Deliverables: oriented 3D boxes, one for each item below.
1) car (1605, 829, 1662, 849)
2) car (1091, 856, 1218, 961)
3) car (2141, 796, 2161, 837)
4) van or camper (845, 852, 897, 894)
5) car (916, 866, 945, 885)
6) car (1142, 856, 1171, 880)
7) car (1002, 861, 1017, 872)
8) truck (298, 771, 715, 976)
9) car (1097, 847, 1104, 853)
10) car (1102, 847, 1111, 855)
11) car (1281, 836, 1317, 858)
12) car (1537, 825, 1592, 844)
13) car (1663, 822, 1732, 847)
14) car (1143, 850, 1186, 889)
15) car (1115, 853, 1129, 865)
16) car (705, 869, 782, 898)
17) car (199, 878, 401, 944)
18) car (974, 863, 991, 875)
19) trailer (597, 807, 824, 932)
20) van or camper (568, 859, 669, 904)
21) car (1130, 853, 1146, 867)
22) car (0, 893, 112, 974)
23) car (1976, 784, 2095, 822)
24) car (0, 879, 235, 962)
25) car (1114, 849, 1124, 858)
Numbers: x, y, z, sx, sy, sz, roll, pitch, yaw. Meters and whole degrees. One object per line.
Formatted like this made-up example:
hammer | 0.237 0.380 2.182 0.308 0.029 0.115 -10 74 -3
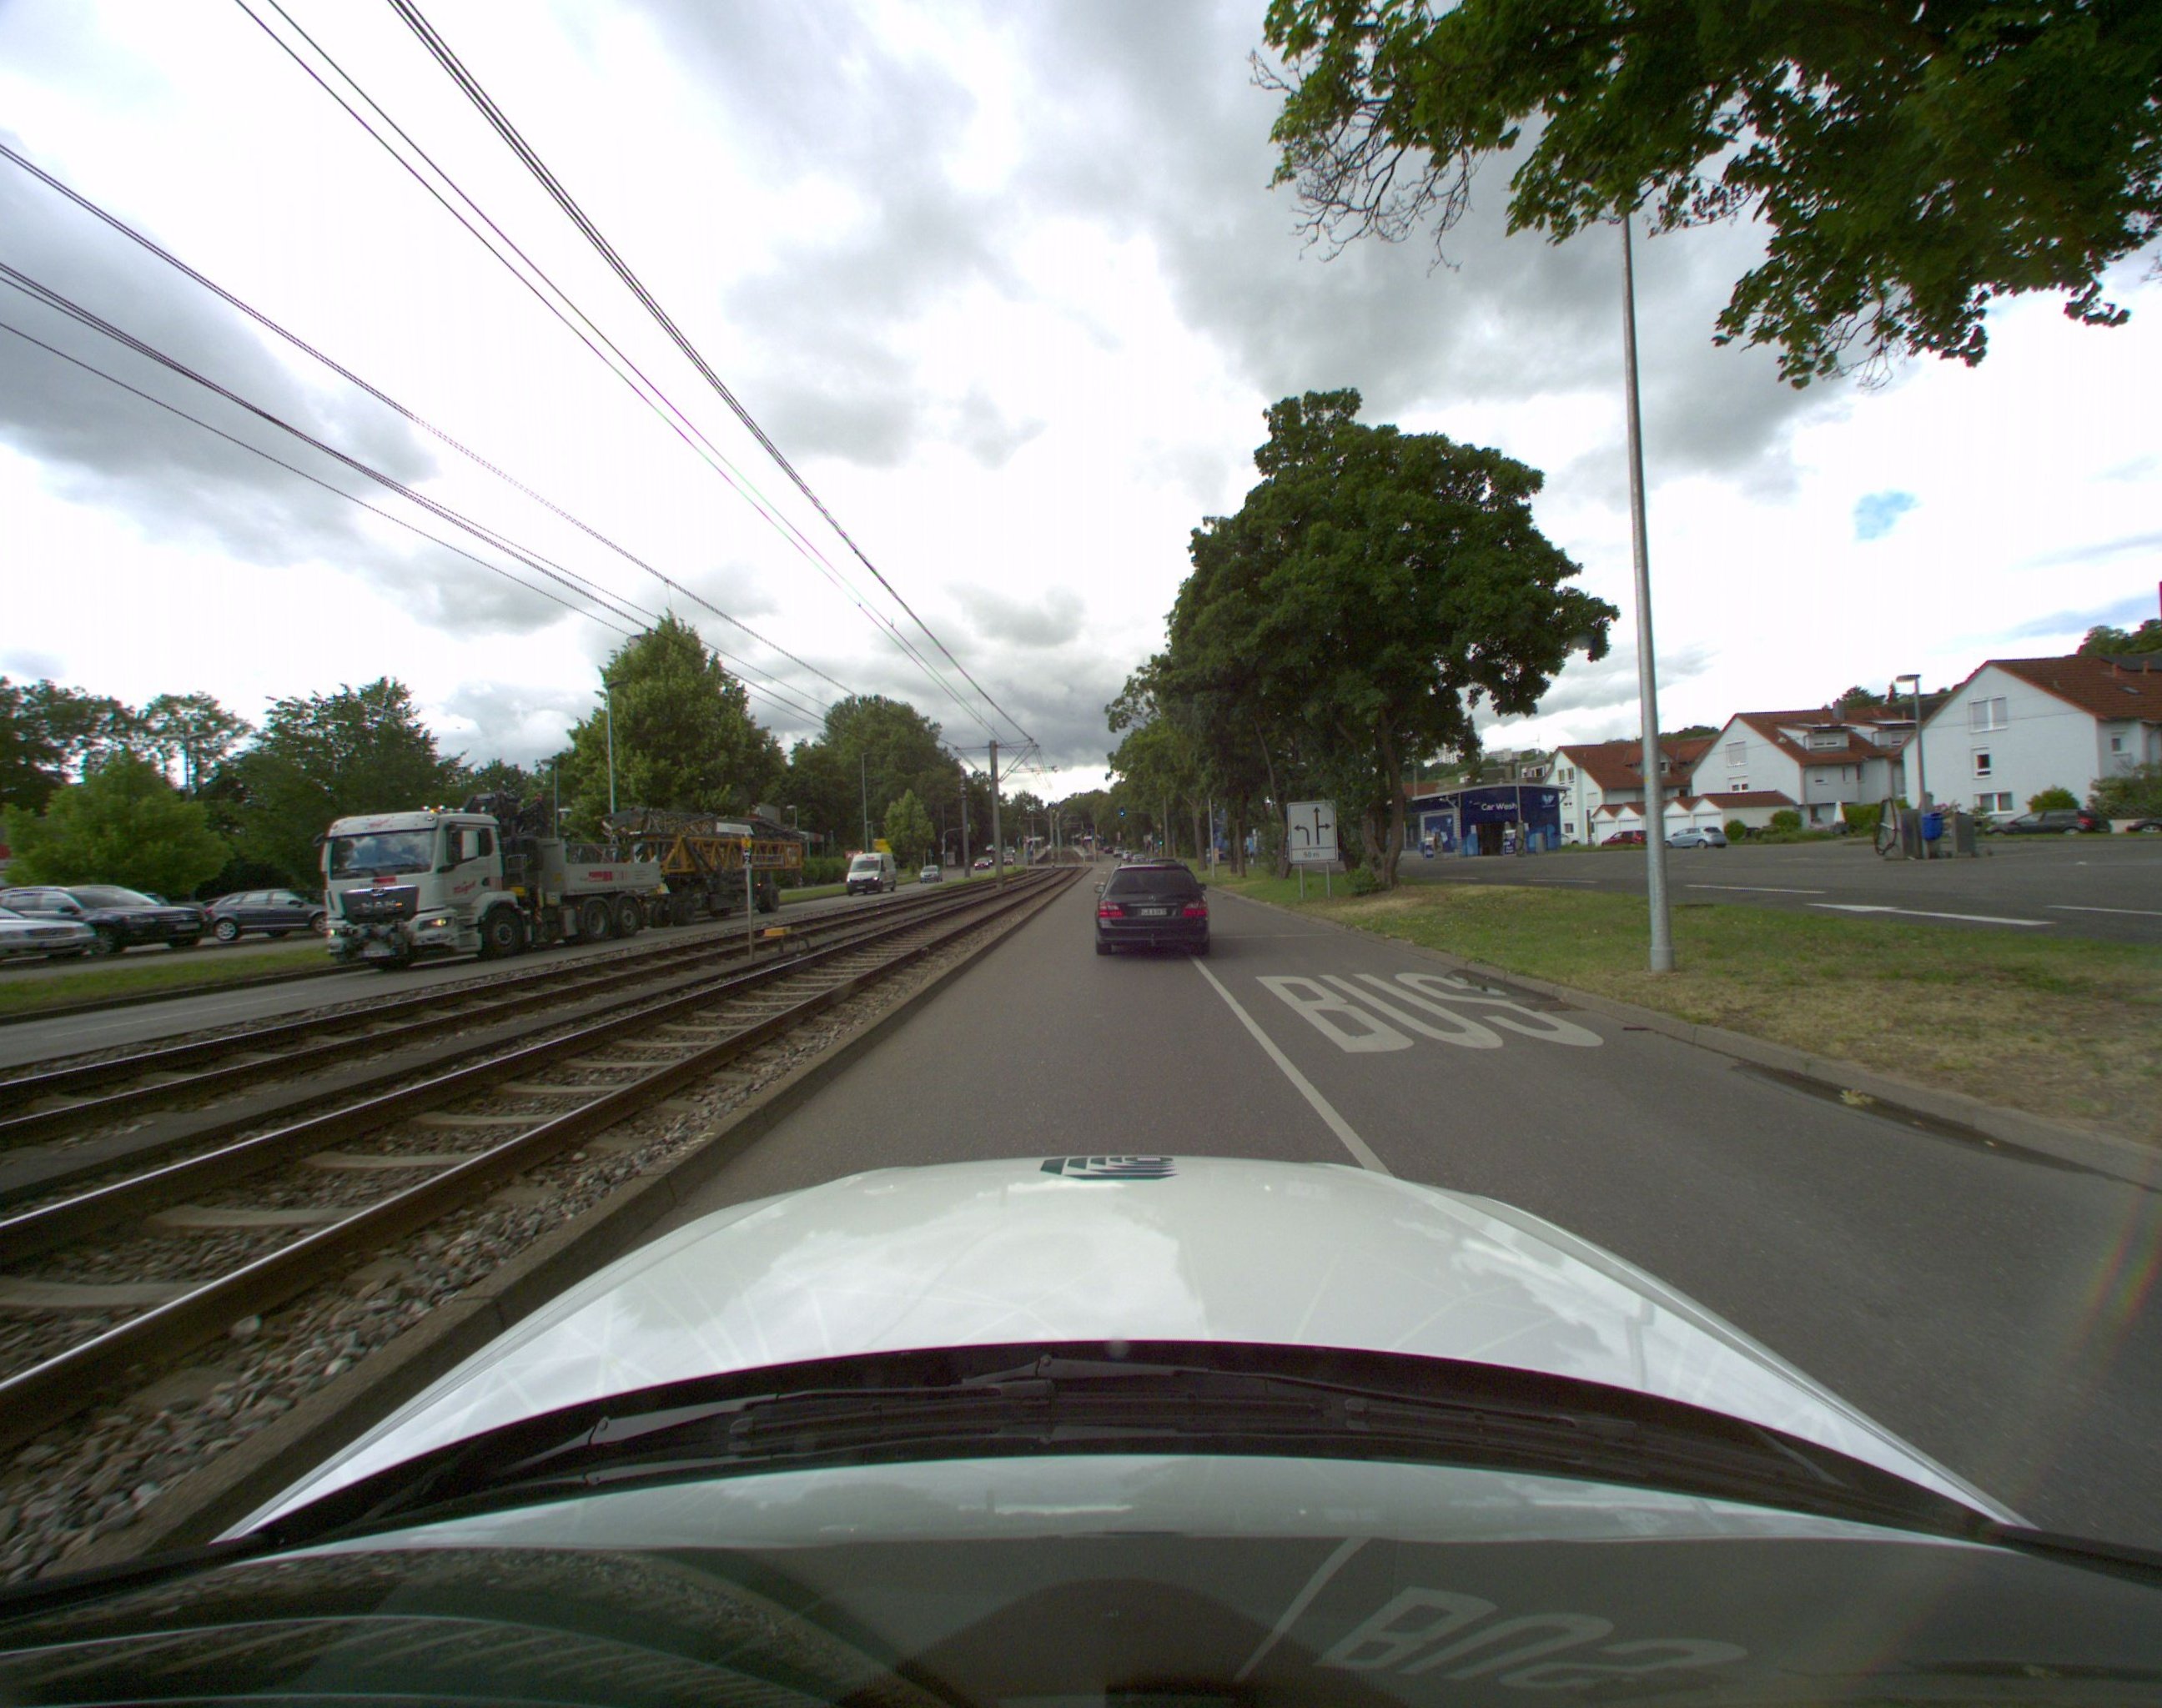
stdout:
car | 41.385 -1.126 61.091 1.581 1.394 3.406 -1 -1 -10
car | 1.128 0.802 13.752 1.802 1.474 3.882 -1 0 2
car | 46.599 -1.616 33.059 1.755 1.689 3.985 -1 -1 -10
van or camper | -12.998 1.143 50.754 1.990 2.354 5.757 -3 0 -4
car | -13.554 1.930 73.505 1.758 1.647 3.772 -1 -1 2
car | 4.617 0.877 50.332 1.565 1.414 3.355 -1 -1 2
car | -10.973 1.941 125.488 1.758 1.647 3.772 -1 -1 2
truck | -13.103 0.376 20.614 2.698 3.663 11.106 -3 0 -1
car | 4.764 -1.009 198.515 1.662 1.532 3.768 -1 -1 -2
car | 5.845 -0.632 183.381 1.986 1.838 4.001 -1 -1 2
car | 18.234 -0.640 68.069 1.987 1.682 4.607 -3 0 26
car | 45.773 -1.794 77.166 4.203 1.684 1.777 -1 -1 -1
car | 42.276 -1.303 55.903 1.533 1.599 3.723 -1 -1 -10
car | 3.913 0.738 38.572 1.774 1.750 3.719 -1 -1 2
car | 6.358 0.819 126.481 1.986 1.838 4.001 -1 -1 2
car | -21.235 1.845 51.341 3.978 1.599 1.794 -3 0 -3
car | -23.089 1.651 24.213 3.978 1.599 1.876 -3 0 -3
car | -13.406 2.044 111.197 1.758 1.647 3.772 -1 -1 2
trailer | -13.288 0.500 31.245 2.697 3.660 13.291 -3 0 -1
van or camper | -23.443 1.369 41.403 3.978 2.135 1.876 -1 0 -3
car | 7.736 0.874 110.477 1.986 1.838 4.001 -1 -1 2
car | -22.963 1.665 16.596 4.294 1.472 1.680 -2 0 -1
car | 50.844 -2.655 43.499 1.683 1.684 4.002 -3 0 2
car | -23.105 1.543 19.272 3.978 1.635 1.876 -3 0 -3
car | 6.723 -0.143 143.854 1.643 1.554 3.649 -1 -1 2
